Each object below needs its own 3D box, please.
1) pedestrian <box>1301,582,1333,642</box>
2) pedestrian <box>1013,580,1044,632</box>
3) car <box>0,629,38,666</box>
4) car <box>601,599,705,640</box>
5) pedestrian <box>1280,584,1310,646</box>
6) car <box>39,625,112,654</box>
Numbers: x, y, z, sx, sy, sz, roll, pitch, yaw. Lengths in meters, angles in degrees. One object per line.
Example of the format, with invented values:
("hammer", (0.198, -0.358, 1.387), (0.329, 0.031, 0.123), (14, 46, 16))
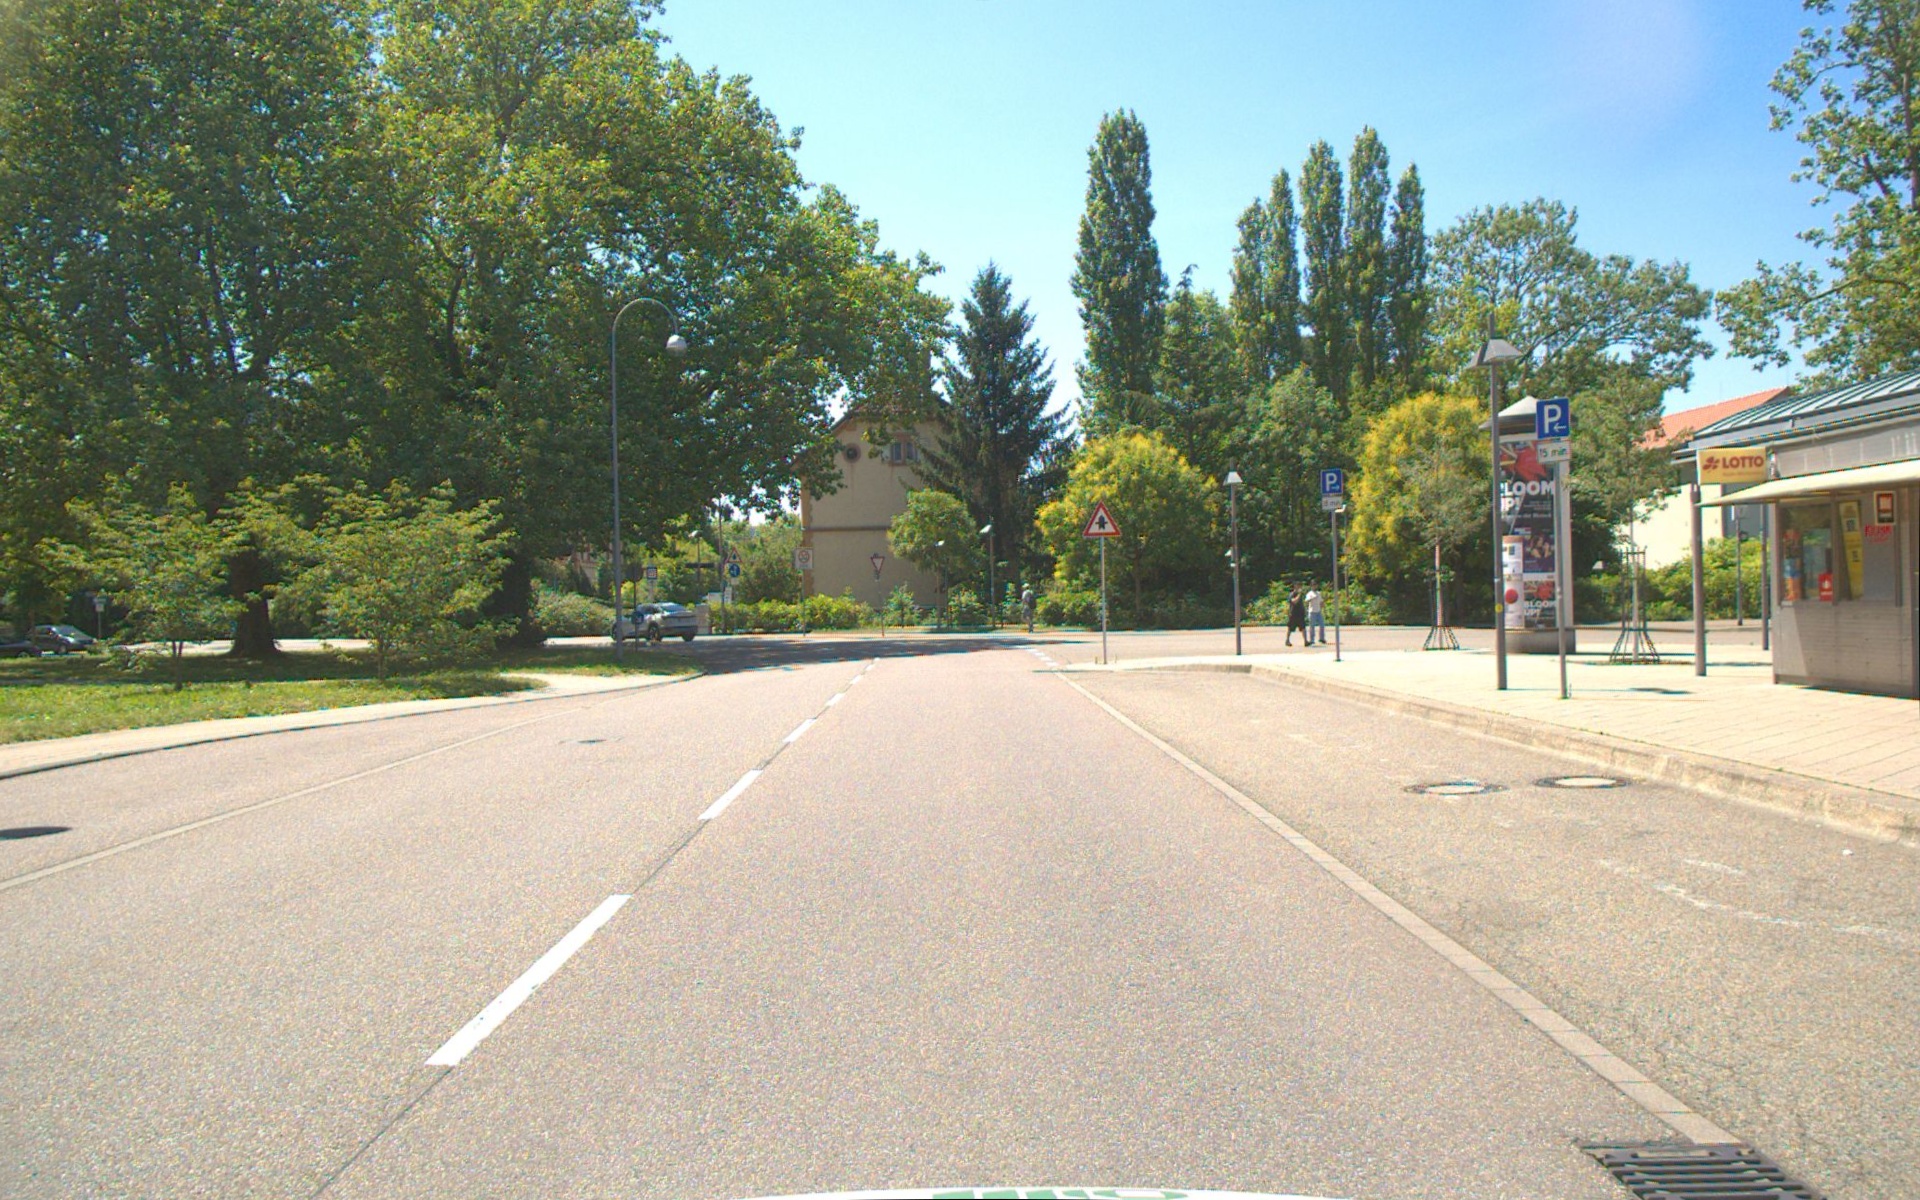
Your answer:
("pedestrian", (10.124, 0.347, 46.936), (0.706, 1.678, 0.750), (-2, -2, 27))
("pedestrian", (2.623, 0.231, 63.282), (0.799, 2.000, 0.844), (-1, 0, -40))
("car", (-37.238, 1.850, 62.478), (1.779, 1.333, 3.988), (-2, 0, 22))
("car", (-13.203, 0.851, 70.923), (4.694, 1.655, 1.977), (-2, 0, 43))
("pedestrian", (9.260, 0.416, 45.750), (0.623, 1.678, 0.750), (-2, -2, 27))
("car", (-44.165, 1.966, 82.553), (4.115, 1.333, 1.636), (-2, 0, 37))
